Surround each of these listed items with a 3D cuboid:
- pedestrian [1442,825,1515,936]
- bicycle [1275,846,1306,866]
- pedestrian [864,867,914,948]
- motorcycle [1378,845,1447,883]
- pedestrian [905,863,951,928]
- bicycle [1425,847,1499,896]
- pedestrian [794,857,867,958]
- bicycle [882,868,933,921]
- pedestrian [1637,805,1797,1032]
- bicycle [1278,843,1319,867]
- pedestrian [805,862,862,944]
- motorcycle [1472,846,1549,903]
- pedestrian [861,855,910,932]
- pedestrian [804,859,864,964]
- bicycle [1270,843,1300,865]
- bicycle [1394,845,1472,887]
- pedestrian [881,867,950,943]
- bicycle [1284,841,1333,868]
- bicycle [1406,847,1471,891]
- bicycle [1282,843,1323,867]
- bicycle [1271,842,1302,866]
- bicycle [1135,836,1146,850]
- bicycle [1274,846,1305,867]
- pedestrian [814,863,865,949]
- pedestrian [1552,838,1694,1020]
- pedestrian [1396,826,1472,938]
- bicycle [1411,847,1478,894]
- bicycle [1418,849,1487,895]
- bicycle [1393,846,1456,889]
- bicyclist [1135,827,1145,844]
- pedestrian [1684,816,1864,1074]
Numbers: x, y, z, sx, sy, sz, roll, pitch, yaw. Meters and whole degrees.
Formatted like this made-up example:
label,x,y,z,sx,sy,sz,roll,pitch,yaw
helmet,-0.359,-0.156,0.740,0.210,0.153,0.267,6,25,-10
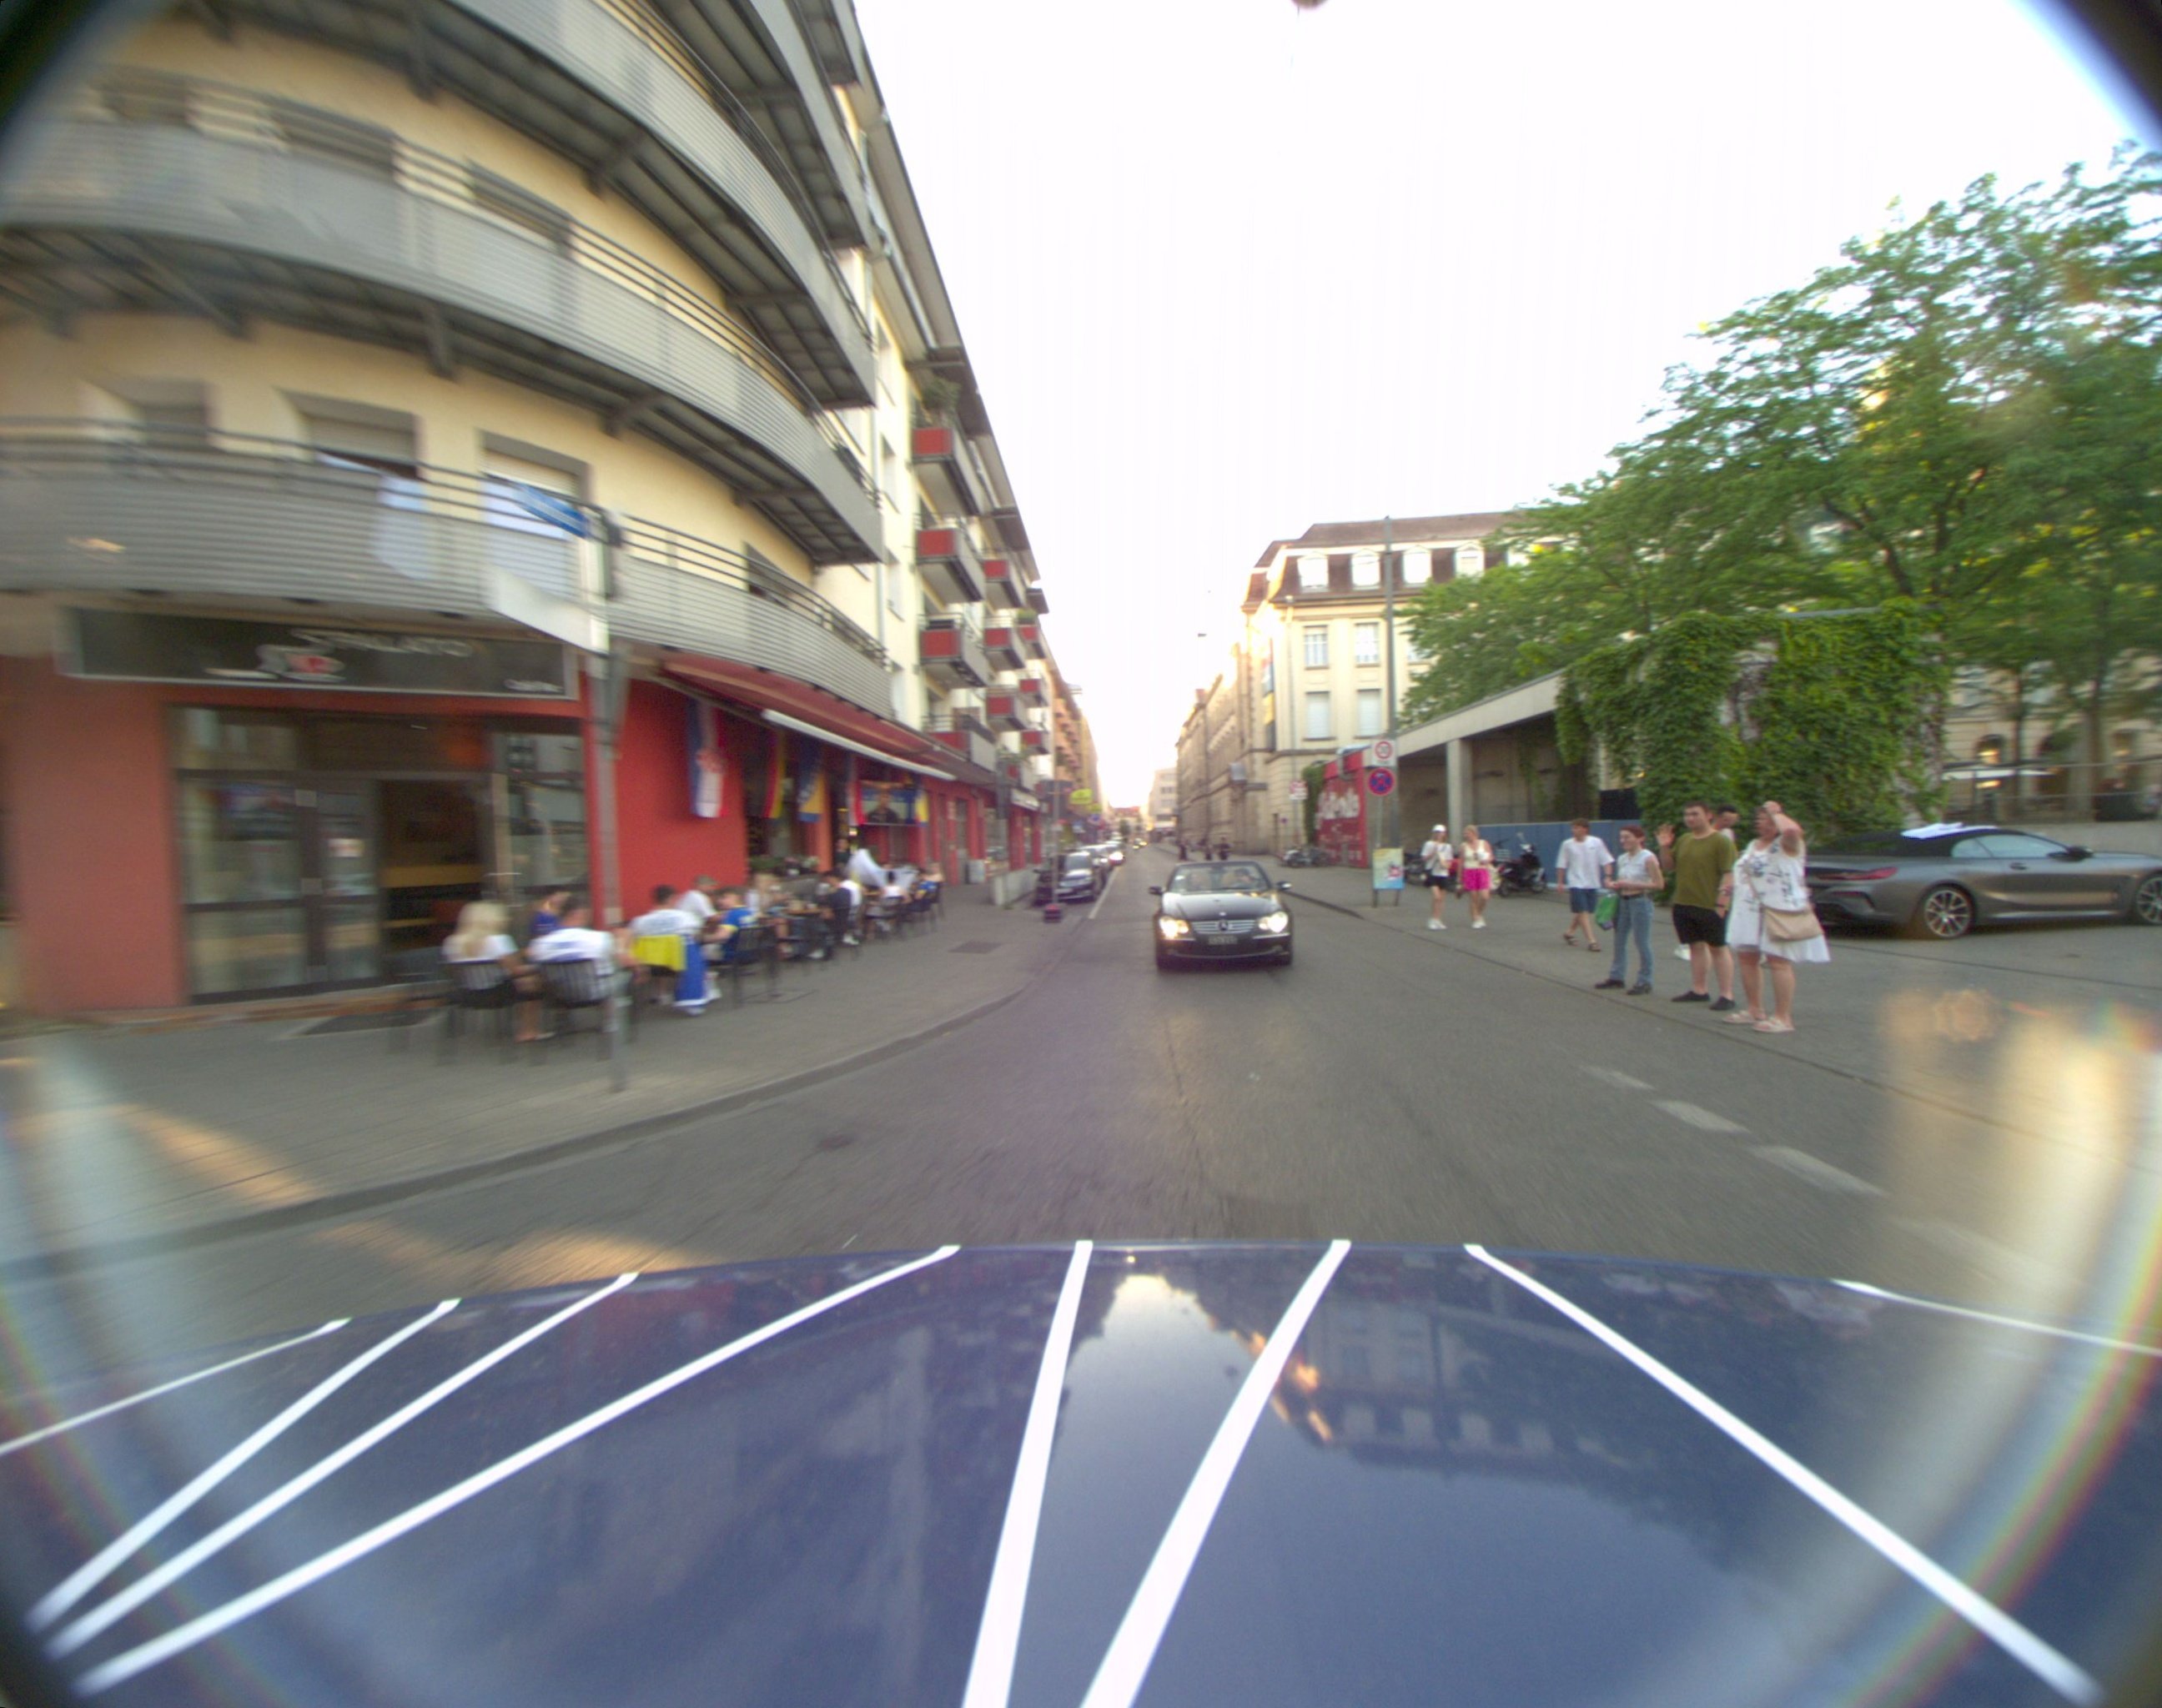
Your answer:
label,x,y,z,sx,sy,sz,roll,pitch,yaw
pedestrian,6.710,0.434,12.861,0.811,1.784,0.737,-3,2,6
bicycle,10.893,0.085,39.450,1.500,0.950,0.312,-4,2,-5
pedestrian,-3.276,0.897,13.009,0.655,1.337,0.749,0,2,1
motorcycle,10.041,0.323,23.038,1.824,1.063,0.534,-3,2,32
pedestrian,-3.285,0.875,16.255,0.853,1.271,0.713,-2,4,-18
bicycle,9.389,0.423,18.747,1.496,1.082,0.548,-3,1,0
pedestrian,-4.040,0.843,12.307,0.852,1.527,0.679,-3,2,0
bicycle,-4.092,0.939,18.067,0.550,1.081,2.005,-3,1,4
pedestrian,5.586,0.540,6.734,0.713,1.866,0.852,-4,2,11
bicycle,10.739,0.070,37.533,1.843,1.077,0.354,-3,2,10
pedestrian,-4.489,0.873,13.814,0.714,1.413,0.602,-3,2,3
motorcycle,9.622,0.444,17.002,1.831,1.120,0.536,-4,2,-27
pedestrian,-4.117,0.803,15.974,0.853,1.527,0.713,-4,2,-18
pedestrian,-3.721,0.851,11.489,0.650,1.519,0.700,1,1,0
bicycle,10.854,0.019,40.429,1.500,1.070,0.312,-4,2,-5
bicycle,9.974,0.341,21.559,1.871,1.081,0.550,-3,2,5
pedestrian,-3.053,0.916,14.035,0.876,1.298,0.854,0,3,23
bicycle,10.988,0.015,36.675,2.179,1.149,0.446,-3,2,10
bicycle,9.519,0.399,20.230,1.496,1.082,0.411,-3,2,0
bicycle,10.781,0.063,37.076,1.843,1.077,0.354,-3,2,10
bicycle,10.849,0.002,40.083,1.500,1.134,0.312,-4,2,-5
bicycle,6.980,-1.320,88.857,1.037,1.513,2.823,-2,2,8
bicycle,10.893,0.121,39.763,1.500,0.973,0.312,-4,2,-5
pedestrian,-4.114,0.875,12.969,0.667,1.426,0.561,0,2,1
pedestrian,5.318,0.677,7.486,0.715,1.659,0.880,-2,2,-28
pedestrian,5.944,0.455,12.834,0.851,1.784,0.869,-3,2,6
bicycle,9.381,0.411,19.613,1.496,1.105,0.411,-3,2,0
bicycle,9.391,0.446,19.214,1.496,1.063,0.442,-3,2,0
bicycle,9.511,0.372,21.074,1.495,1.082,0.436,-3,2,11
bicyclist,6.909,-2.155,88.637,1.045,2.002,1.182,-2,2,6
pedestrian,5.229,0.636,5.798,0.880,1.793,0.716,-2,2,35
